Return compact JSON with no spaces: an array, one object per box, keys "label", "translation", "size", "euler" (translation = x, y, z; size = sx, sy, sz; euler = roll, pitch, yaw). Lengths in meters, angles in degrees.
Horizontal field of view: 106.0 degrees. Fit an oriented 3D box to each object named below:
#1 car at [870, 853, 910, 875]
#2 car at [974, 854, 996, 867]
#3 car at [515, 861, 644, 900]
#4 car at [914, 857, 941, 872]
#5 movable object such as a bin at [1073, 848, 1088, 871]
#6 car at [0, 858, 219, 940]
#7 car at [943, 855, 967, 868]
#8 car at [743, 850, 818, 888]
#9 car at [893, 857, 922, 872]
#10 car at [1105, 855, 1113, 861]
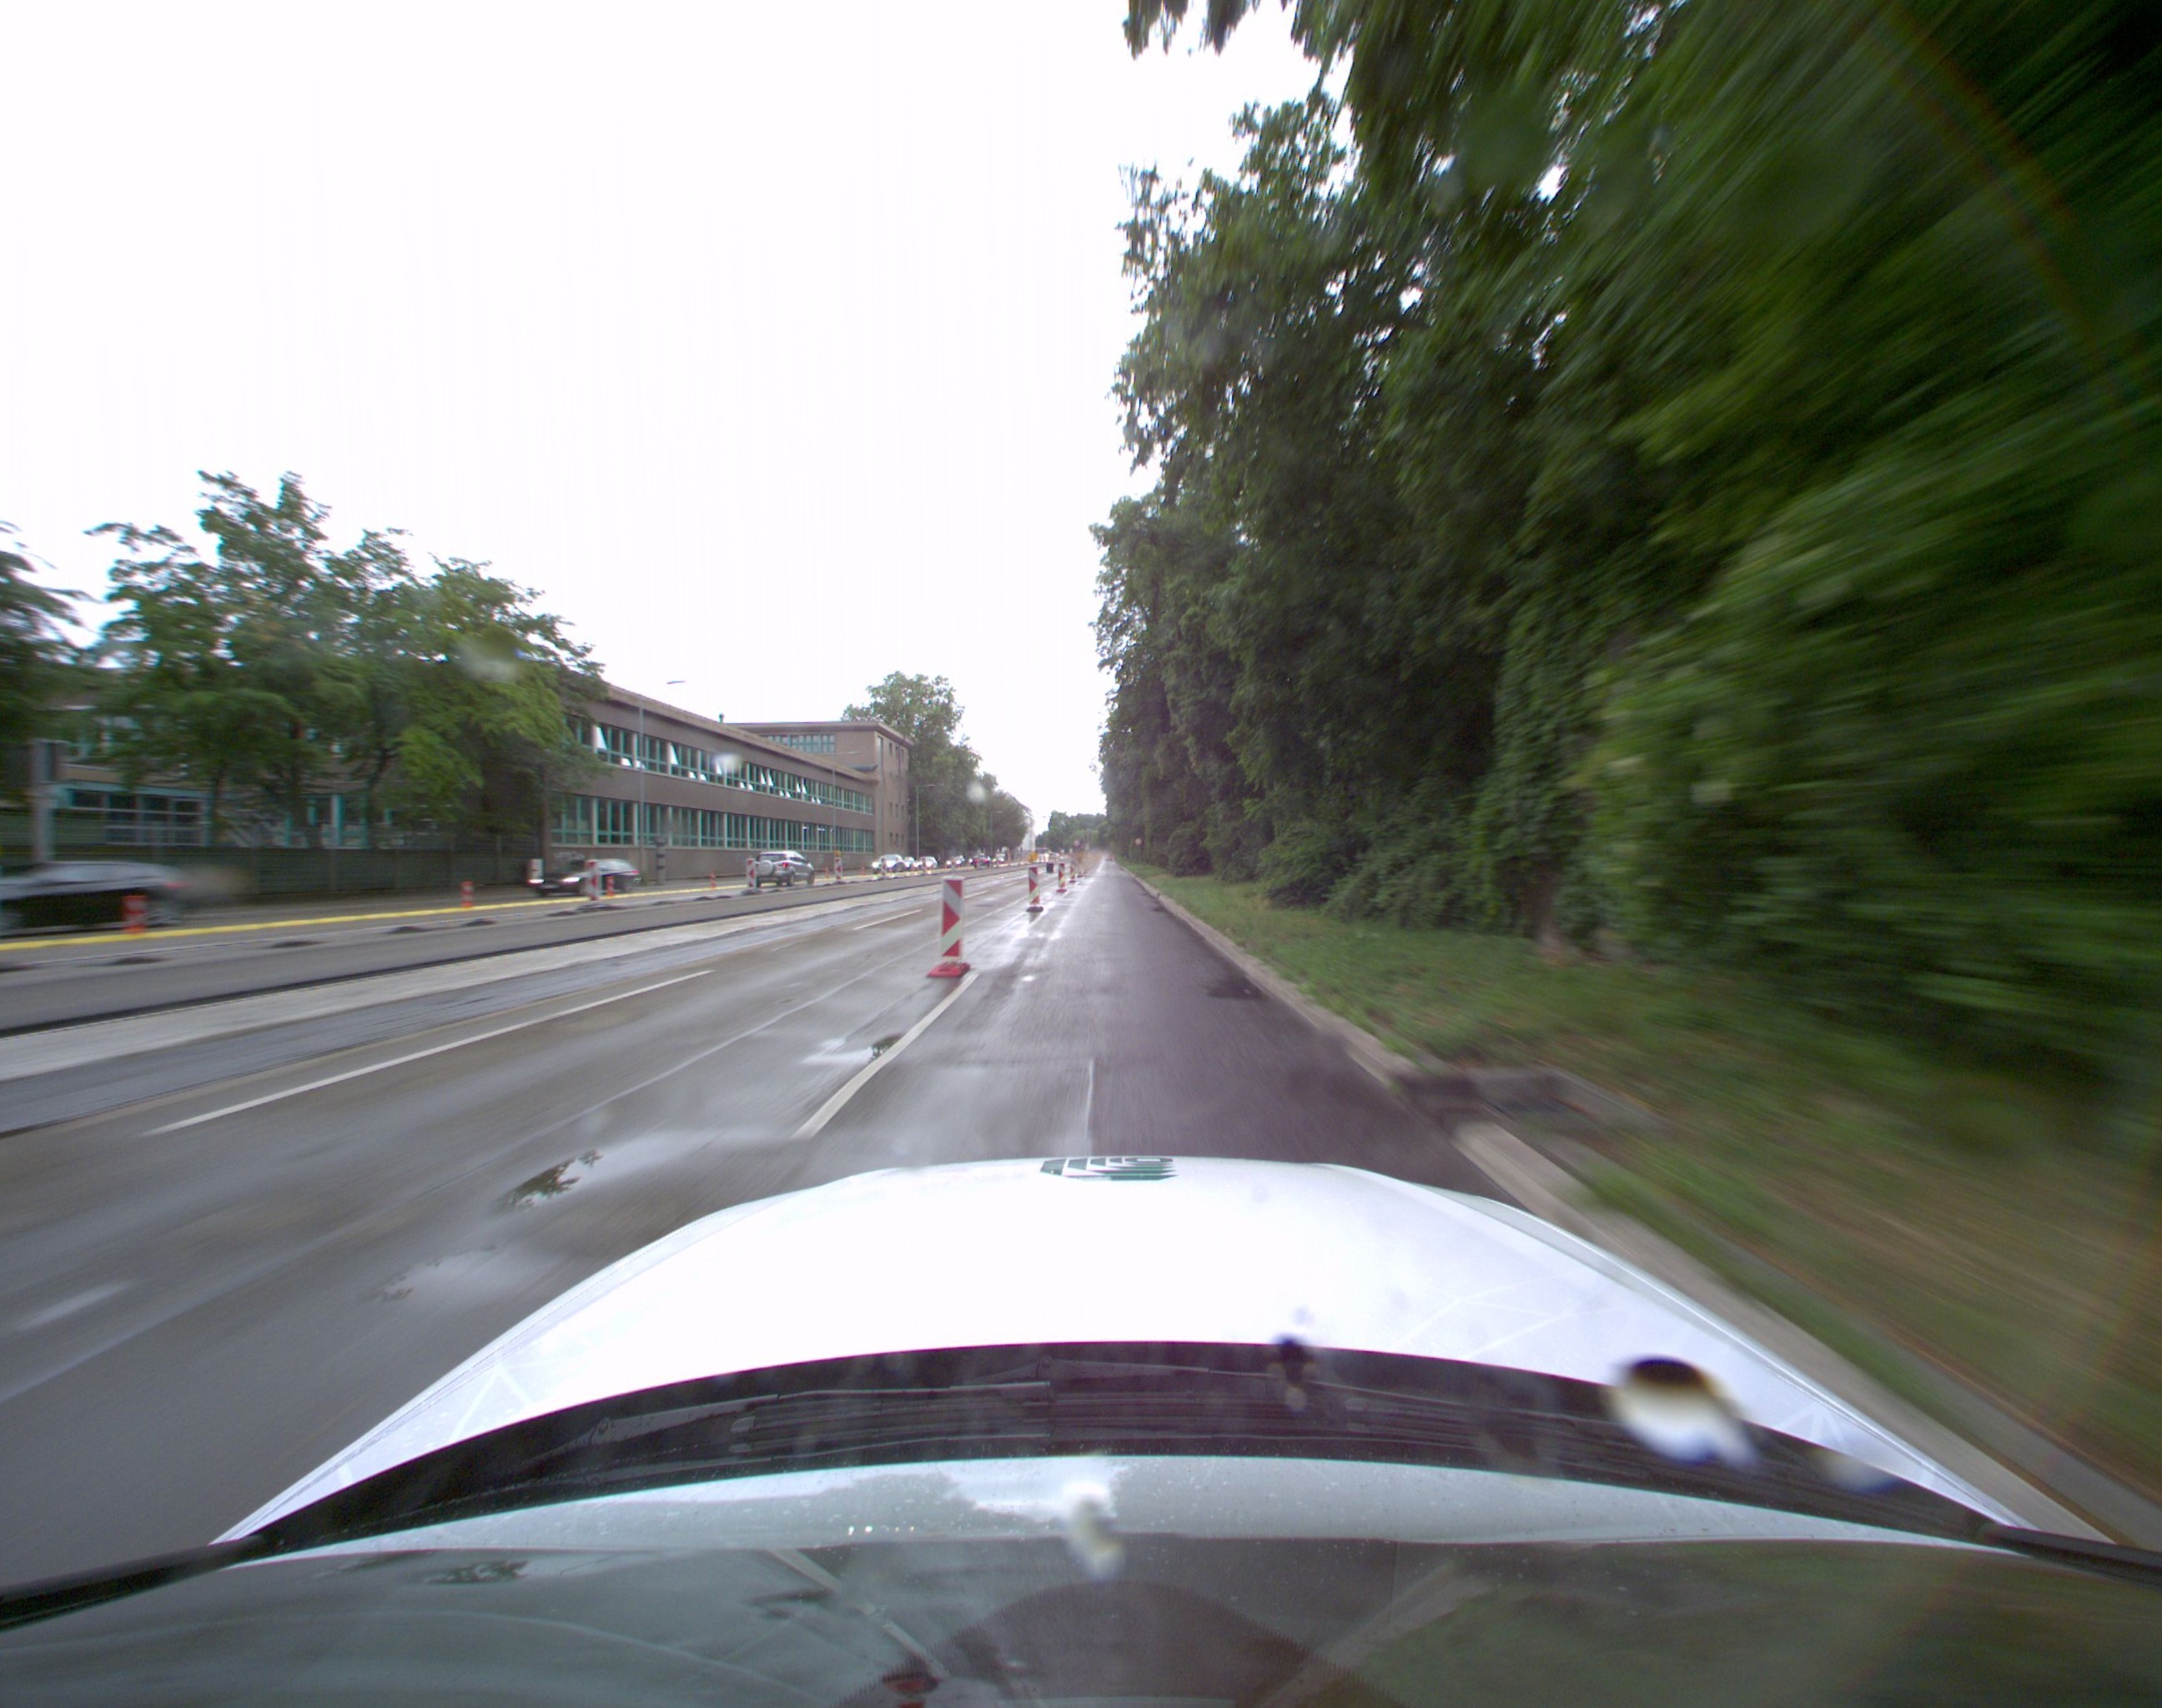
[{"label":"car","translation":[-16.086,0.843,68.786],"size":[1.980,1.768,4.678],"euler":[0,-1,3]},{"label":"car","translation":[-11.555,0.766,98.106],"size":[1.986,1.519,4.001],"euler":[0,-1,1]},{"label":"car","translation":[-19.854,0.998,32.534],"size":[2.038,1.454,4.766],"euler":[0,-1,2]},{"label":"car","translation":[-15.410,1.042,81.823],"size":[1.797,1.534,3.993],"euler":[0,-1,2]},{"label":"movable object such as a bin","translation":[0.001,0.793,119.233],"size":[1.986,3.367,5.984],"euler":[0,-1,2]},{"label":"car","translation":[-20.221,0.811,16.005],"size":[1.987,1.429,4.265],"euler":[0,0,1]},{"label":"car","translation":[-15.162,0.908,98.379],"size":[1.886,1.502,4.520],"euler":[0,-1,3]},{"label":"car","translation":[-13.728,0.686,37.496],"size":[1.848,1.648,4.001],"euler":[0,-1,2]},{"label":"car","translation":[-18.092,1.073,84.961],"size":[1.986,1.586,4.180],"euler":[0,-1,1]},{"label":"car","translation":[7.071,1.043,208.222],"size":[1.986,1.673,4.002],"euler":[0,-1,2]}]
